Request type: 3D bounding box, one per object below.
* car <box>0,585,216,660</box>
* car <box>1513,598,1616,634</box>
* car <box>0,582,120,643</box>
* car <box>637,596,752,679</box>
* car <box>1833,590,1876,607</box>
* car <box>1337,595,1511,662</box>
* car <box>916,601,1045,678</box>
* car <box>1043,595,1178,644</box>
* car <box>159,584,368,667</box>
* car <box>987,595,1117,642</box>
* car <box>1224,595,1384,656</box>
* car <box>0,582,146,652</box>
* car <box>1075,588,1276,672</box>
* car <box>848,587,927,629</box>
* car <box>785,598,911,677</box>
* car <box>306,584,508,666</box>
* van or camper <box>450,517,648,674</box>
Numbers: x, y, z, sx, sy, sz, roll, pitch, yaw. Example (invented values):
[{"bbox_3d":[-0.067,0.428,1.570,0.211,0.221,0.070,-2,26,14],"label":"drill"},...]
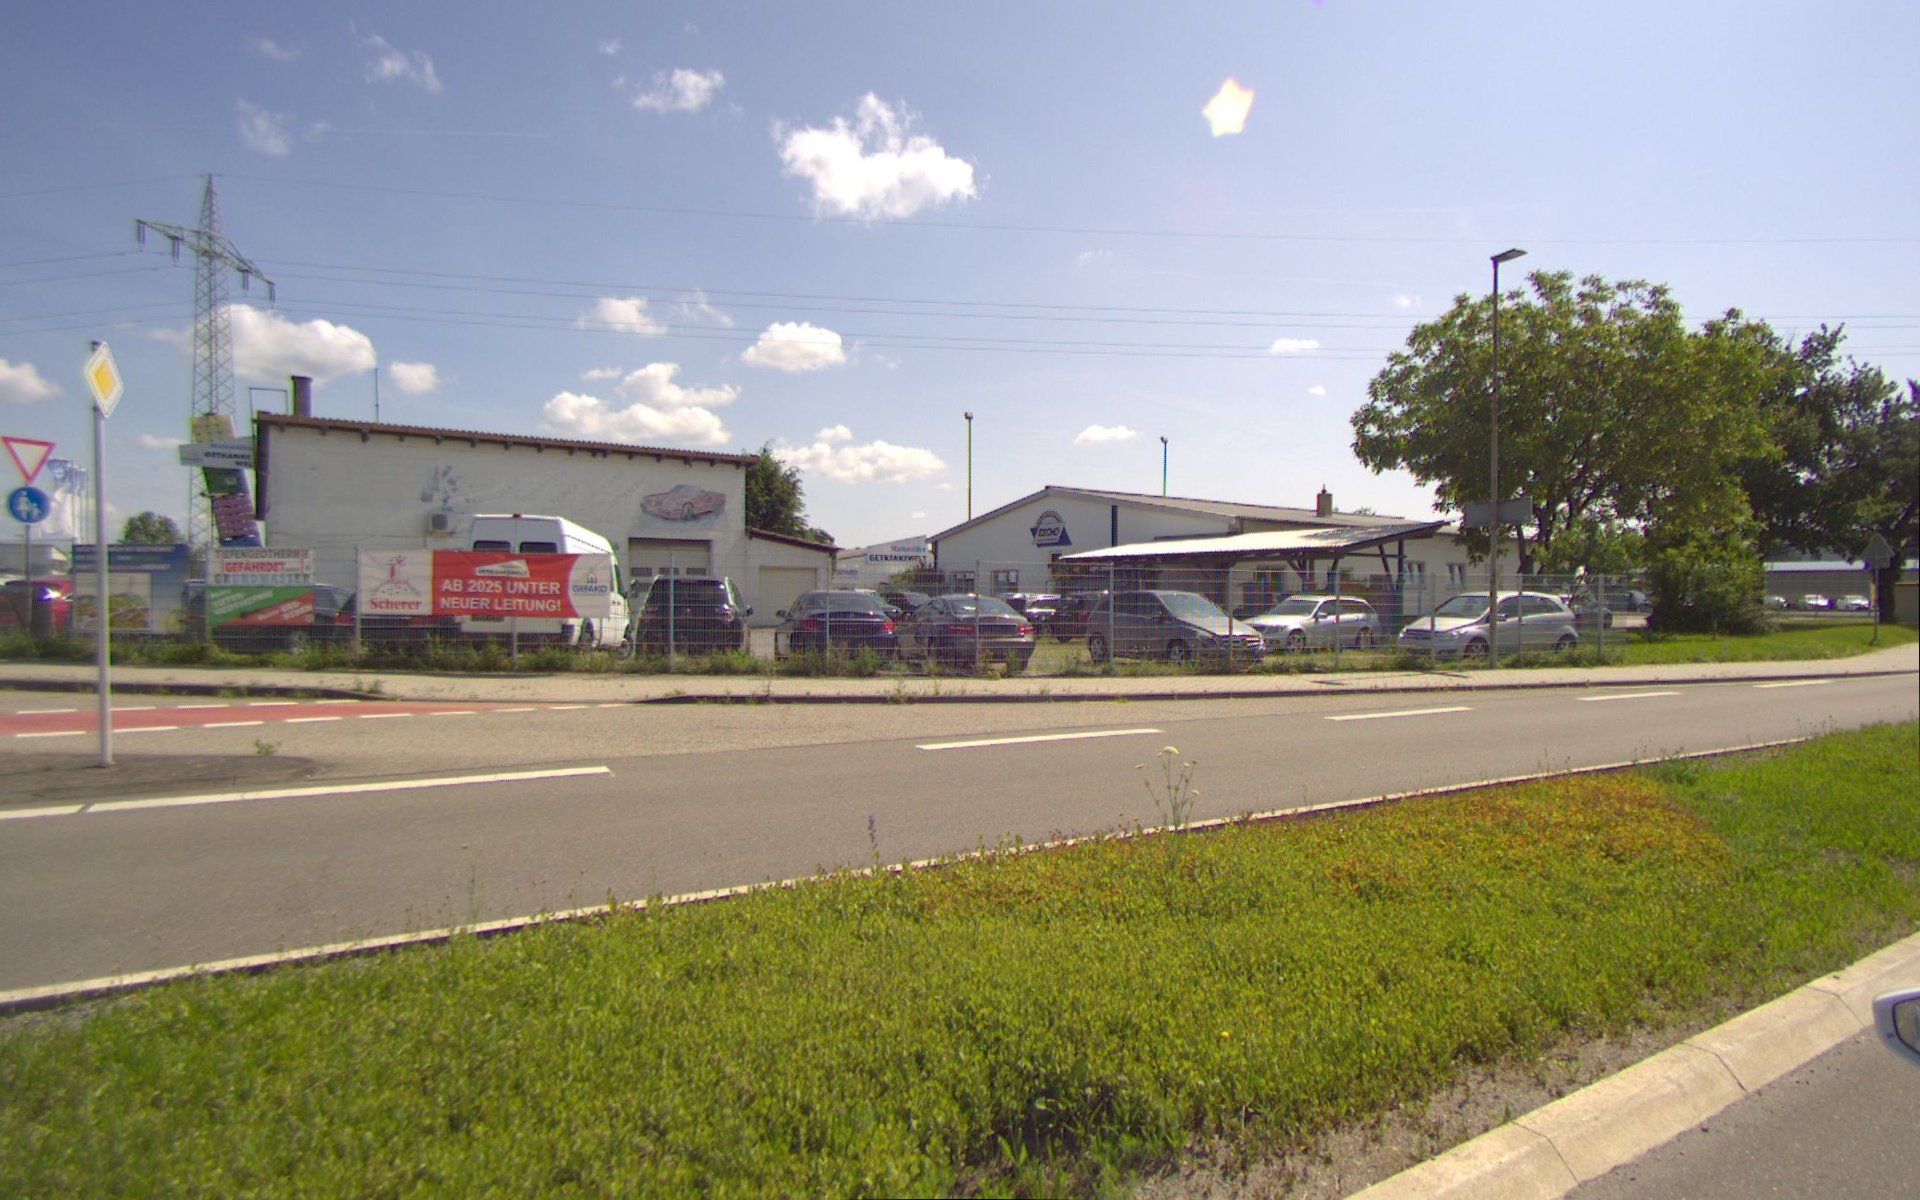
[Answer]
[{"bbox_3d":[-17.209,0.402,19.920,1.961,1.339,3.999,0,0,-1],"label":"car"},{"bbox_3d":[25.310,0.676,42.036,4.469,1.427,1.982,1,0,-34],"label":"car"},{"bbox_3d":[-22.024,0.264,23.007,1.959,1.339,4.002,1,0,6],"label":"car"},{"bbox_3d":[-4.736,0.610,18.301,1.804,1.339,3.990,1,0,-13],"label":"car"},{"bbox_3d":[80.778,-0.141,90.755,1.963,1.506,4.241,1,1,28],"label":"car"},{"bbox_3d":[11.062,0.650,23.894,3.958,1.461,1.981,1,0,-34],"label":"car"},{"bbox_3d":[0.292,0.698,19.668,1.662,1.339,3.881,1,0,-13],"label":"car"},{"bbox_3d":[4.762,0.599,31.701,3.959,1.461,1.981,1,0,-35],"label":"car"},{"bbox_3d":[-12.538,0.423,18.394,1.531,1.339,3.994,1,0,-9],"label":"car"},{"bbox_3d":[3.070,0.611,33.285,3.959,1.461,1.981,1,0,-35],"label":"car"},{"bbox_3d":[8.903,0.610,25.928,3.959,1.461,1.981,0,0,-35],"label":"car"},{"bbox_3d":[-19.331,0.313,20.840,1.863,1.339,3.743,0,0,-1],"label":"car"},{"bbox_3d":[4.281,0.558,20.562,1.975,1.539,3.971,0,0,-28],"label":"car"},{"bbox_3d":[-3.083,0.322,42.275,1.793,1.662,3.699,1,0,-33],"label":"car"},{"bbox_3d":[-2.250,0.647,19.161,1.965,1.339,3.990,1,0,-13],"label":"car"},{"bbox_3d":[-10.042,0.422,18.615,1.963,1.339,3.994,1,0,-8],"label":"car"},{"bbox_3d":[-7.523,-0.071,19.075,2.040,2.531,5.582,0,0,-7],"label":"van or camper"}]
